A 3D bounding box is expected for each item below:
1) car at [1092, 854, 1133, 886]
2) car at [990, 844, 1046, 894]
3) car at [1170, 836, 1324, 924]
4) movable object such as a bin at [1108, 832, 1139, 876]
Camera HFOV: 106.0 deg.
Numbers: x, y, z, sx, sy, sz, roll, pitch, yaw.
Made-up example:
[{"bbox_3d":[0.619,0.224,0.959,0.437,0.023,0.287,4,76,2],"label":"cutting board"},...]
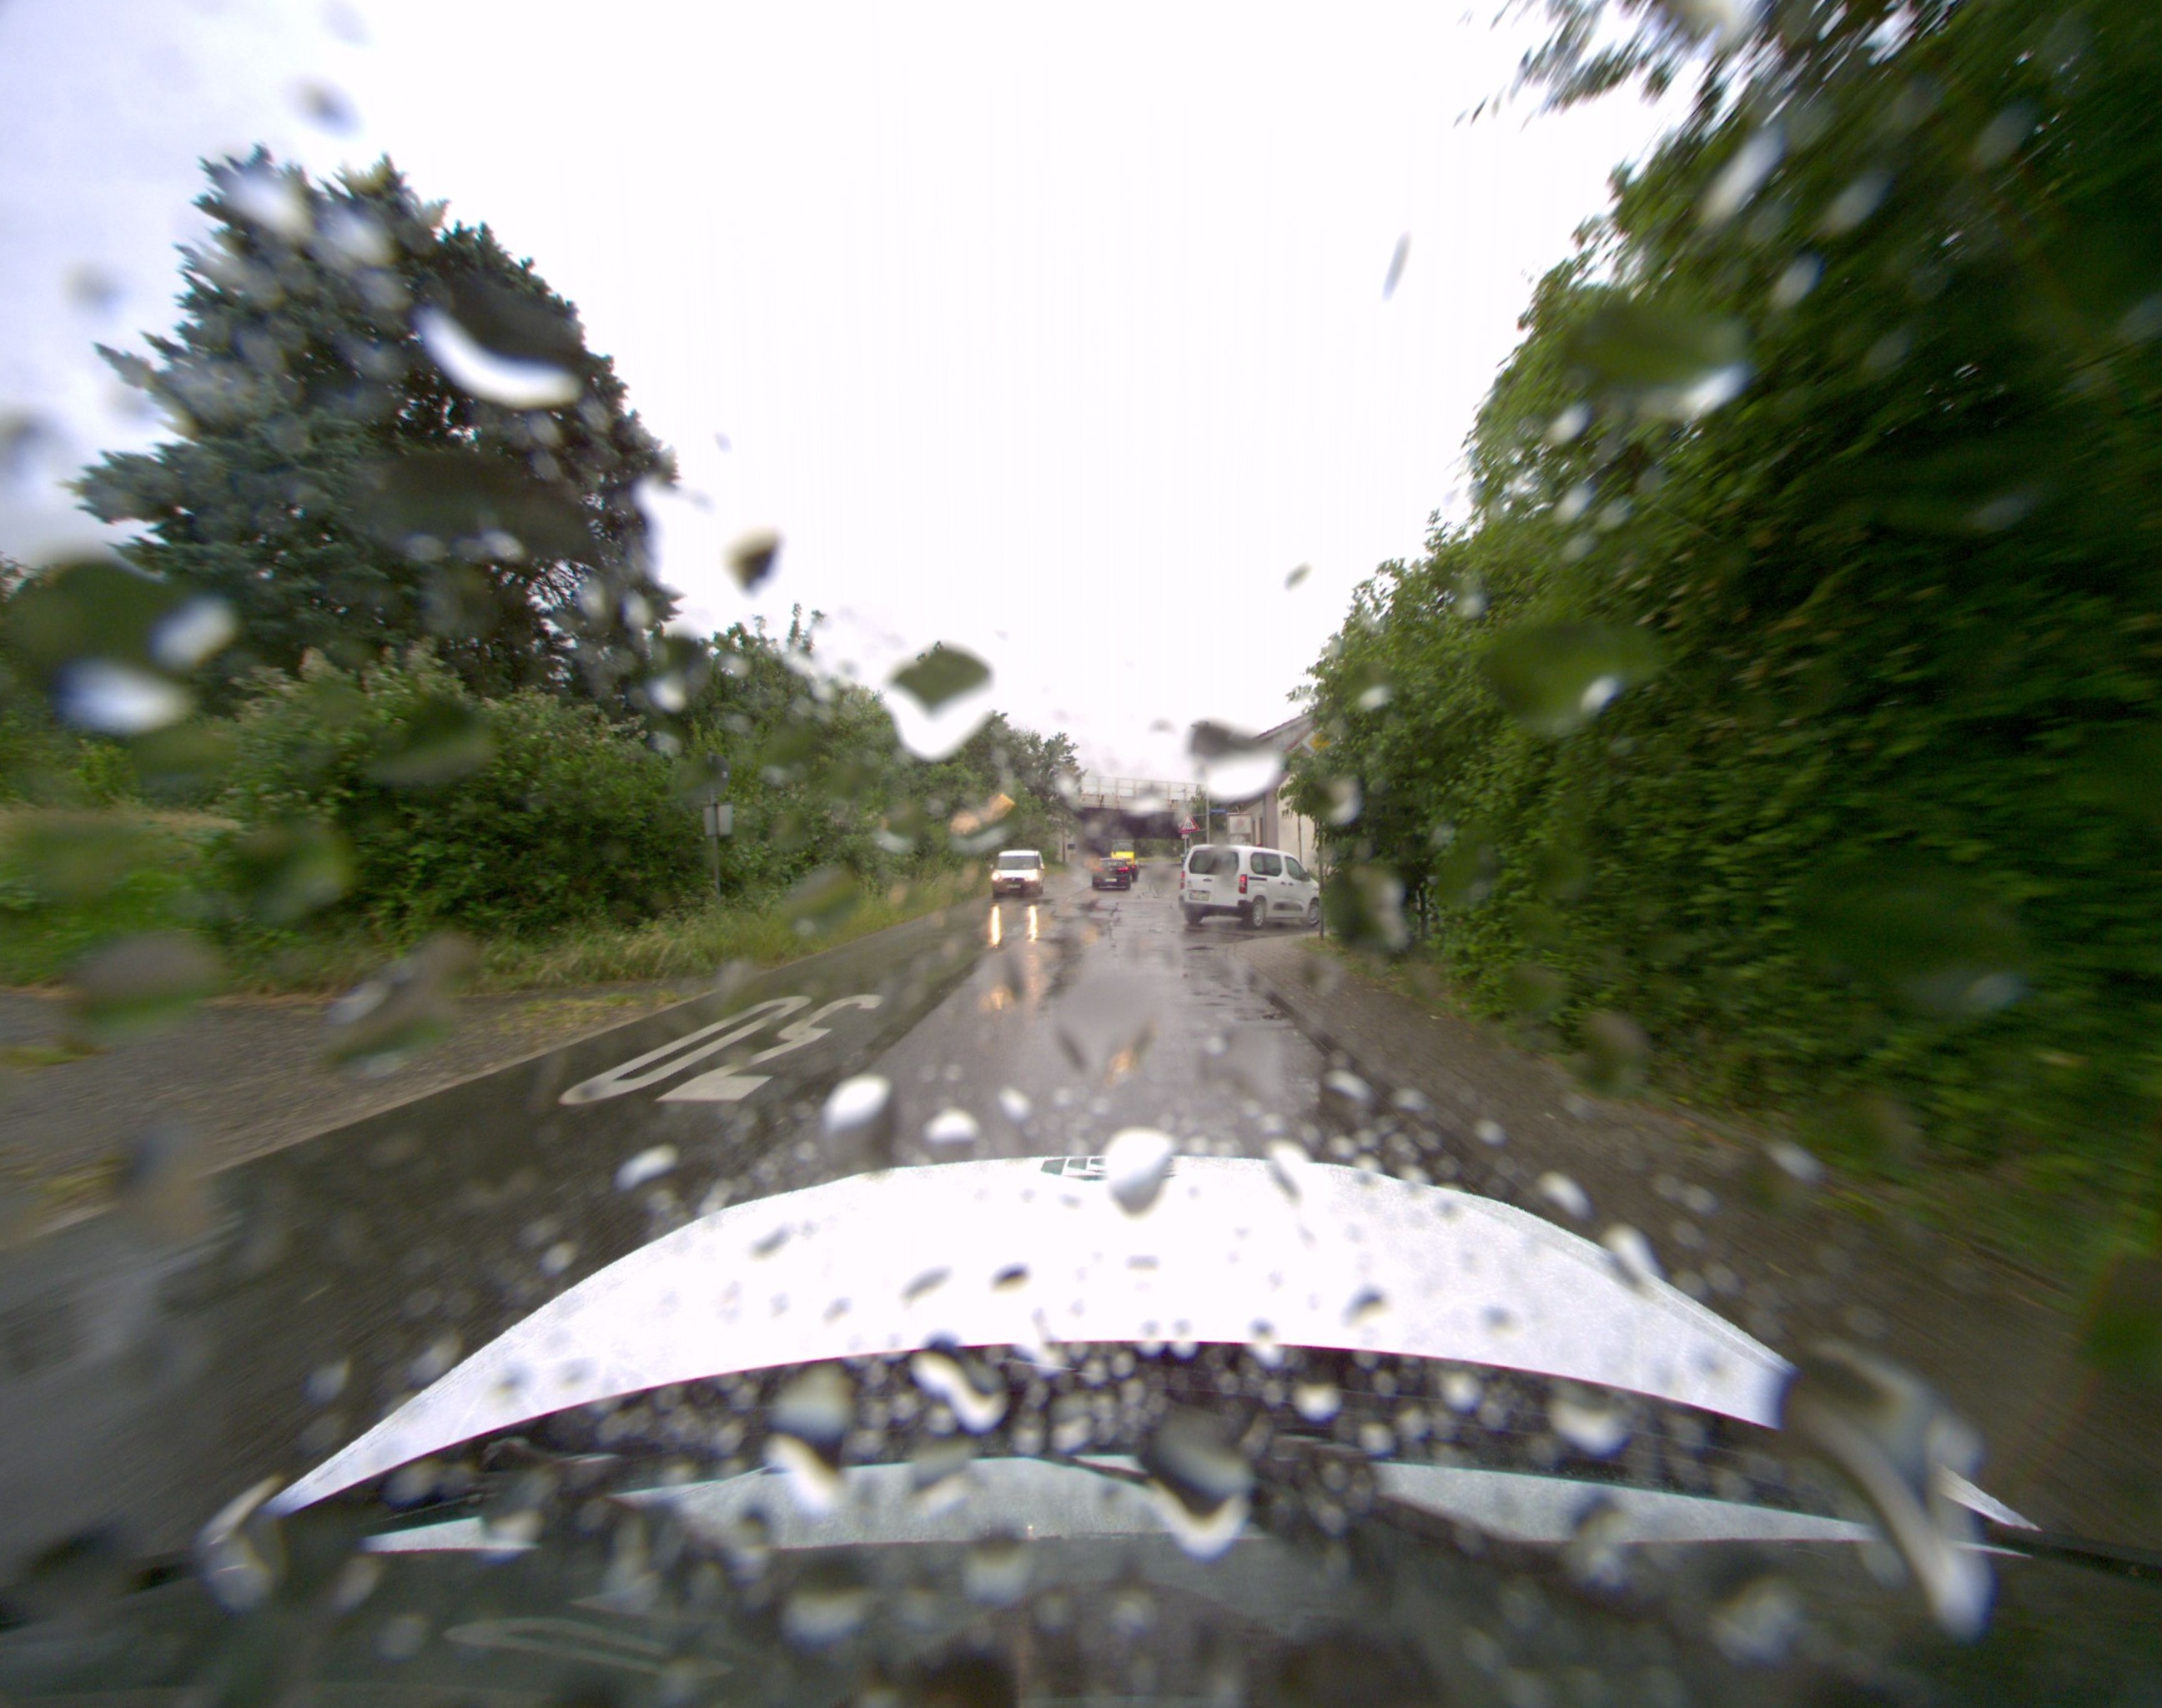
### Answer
[{"bbox_3d":[1.512,0.723,38.046,1.701,1.377,4.005,1,0,5],"label":"car"},{"bbox_3d":[-2.386,0.561,31.852,1.817,1.832,4.307,0,0,0],"label":"car"},{"bbox_3d":[3.979,0.518,19.049,1.878,1.807,4.026,-1,0,39],"label":"car"},{"bbox_3d":[2.648,0.015,49.782,1.753,2.548,4.244,1,0,4],"label":"movable object such as a bin"}]
